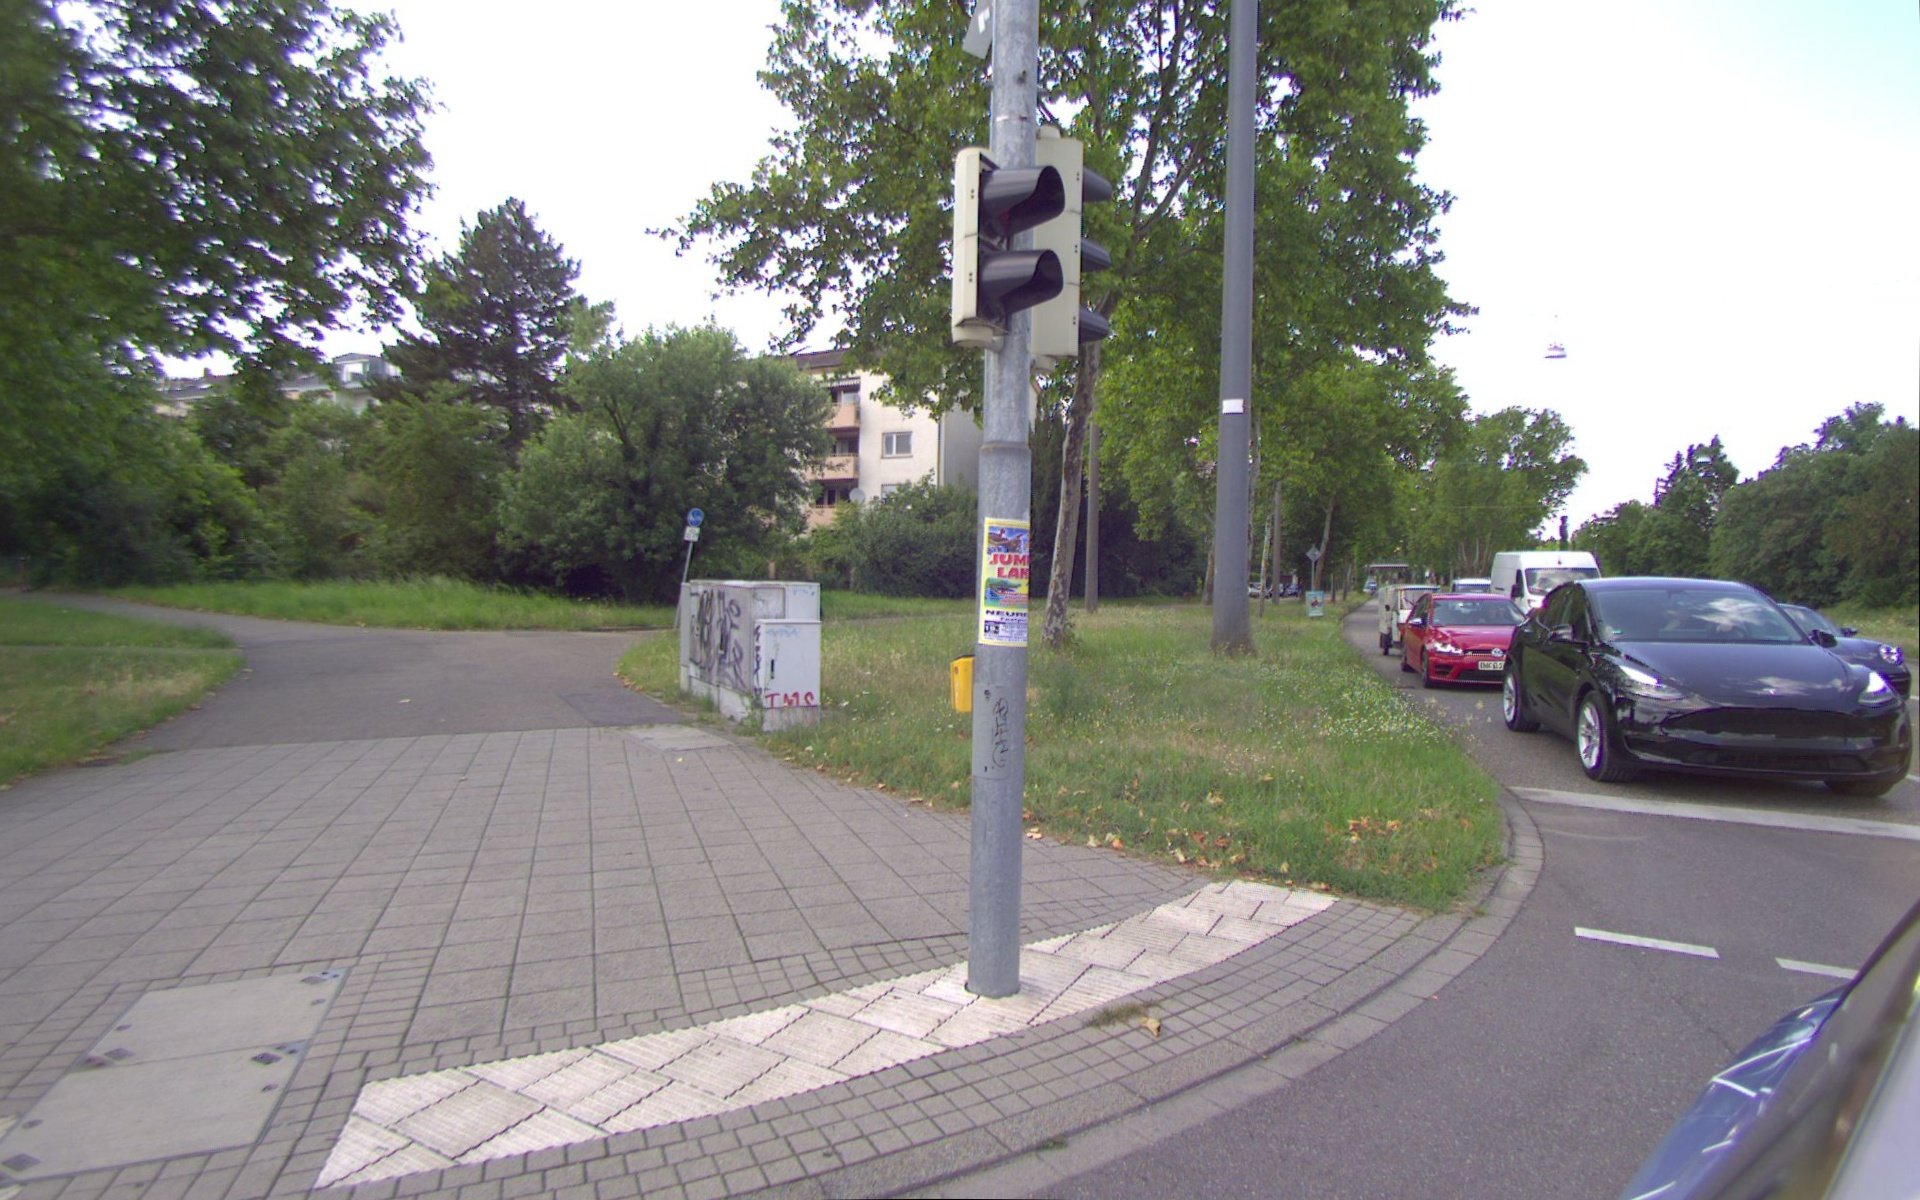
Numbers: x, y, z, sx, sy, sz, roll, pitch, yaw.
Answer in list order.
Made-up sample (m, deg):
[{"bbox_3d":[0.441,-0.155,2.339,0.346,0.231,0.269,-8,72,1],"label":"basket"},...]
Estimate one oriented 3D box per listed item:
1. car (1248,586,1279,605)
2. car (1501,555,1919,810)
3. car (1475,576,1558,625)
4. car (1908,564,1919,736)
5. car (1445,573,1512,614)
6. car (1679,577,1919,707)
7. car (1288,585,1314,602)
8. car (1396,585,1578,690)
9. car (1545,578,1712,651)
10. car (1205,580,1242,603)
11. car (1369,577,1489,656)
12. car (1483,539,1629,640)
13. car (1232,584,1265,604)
[{"bbox_3d":[27.199,-0.387,90.672,1.764,1.616,3.613,1,-1,33],"label":"car"},{"bbox_3d":[6.348,0.491,9.025,1.906,1.672,4.553,0,1,18],"label":"car"},{"bbox_3d":[19.702,-0.025,35.973,1.820,1.638,4.132,0,1,18],"label":"car"},{"bbox_3d":[9.685,0.527,7.608,1.904,1.672,4.479,0,1,17],"label":"car"},{"bbox_3d":[22.234,-0.318,43.546,1.741,1.667,4.321,1,2,16],"label":"car"},{"bbox_3d":[11.695,0.458,13.935,1.781,1.527,3.977,-1,1,18],"label":"car"},{"bbox_3d":[36.150,-0.679,107.139,1.764,1.616,3.613,1,-1,33],"label":"car"},{"bbox_3d":[8.346,0.493,16.446,1.777,1.408,4.479,0,1,17],"label":"car"},{"bbox_3d":[13.992,0.232,21.462,1.740,1.392,4.321,0,1,17],"label":"car"},{"bbox_3d":[20.608,-0.652,79.124,1.764,1.616,3.613,1,-1,33],"label":"car"},{"bbox_3d":[10.341,0.282,22.621,1.777,1.589,4.479,0,1,17],"label":"car"},{"bbox_3d":[16.773,-0.332,28.879,2.197,2.561,5.903,0,1,17],"label":"car"},{"bbox_3d":[24.888,-0.476,87.188,1.764,1.616,3.613,1,-1,33],"label":"car"}]
